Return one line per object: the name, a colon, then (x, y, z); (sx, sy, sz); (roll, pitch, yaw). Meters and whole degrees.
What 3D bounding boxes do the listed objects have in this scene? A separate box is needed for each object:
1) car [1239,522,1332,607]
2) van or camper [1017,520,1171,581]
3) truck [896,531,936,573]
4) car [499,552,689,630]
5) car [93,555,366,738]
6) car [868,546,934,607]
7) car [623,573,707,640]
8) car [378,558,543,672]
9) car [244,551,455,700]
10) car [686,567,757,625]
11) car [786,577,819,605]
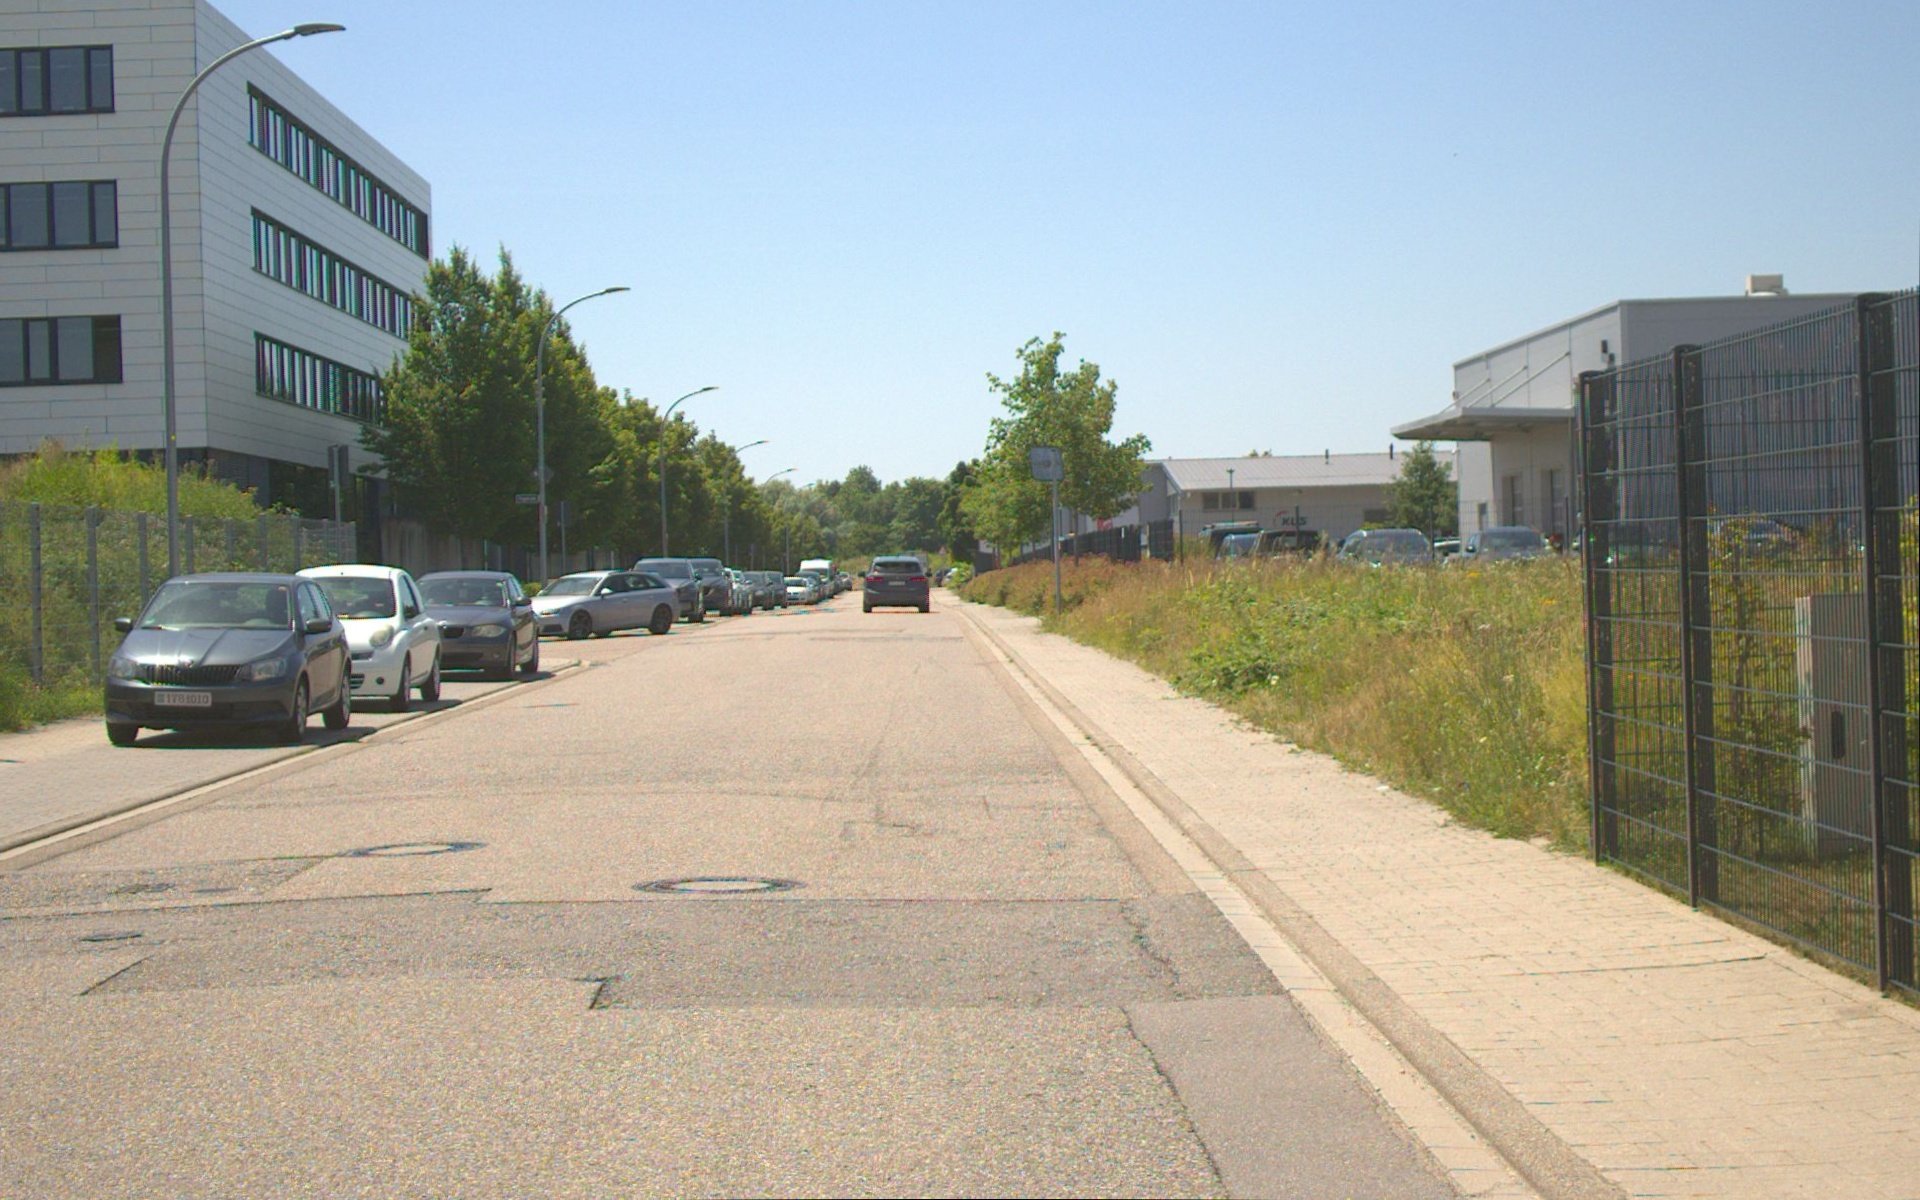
car: (6.293, -0.674, 66.604); (1.466, 1.568, 2.662); (-2, 0, -1)
van or camper: (6.077, -2.250, 156.747); (6.757, 2.576, 2.636); (-2, 0, -1)
truck: (-3.256, -3.552, 256.488); (2.933, 2.964, 6.419); (1, 0, 0)
car: (-7.792, -0.208, 73.447); (1.774, 1.582, 4.068); (-1, 0, 35)
car: (-6.474, 0.386, 30.831); (1.674, 1.525, 3.910); (0, 0, -1)
car: (-1.647, -0.645, 95.713); (1.789, 1.618, 3.809); (1, 0, -1)
car: (-7.365, 0.154, 86.161); (1.771, 1.582, 4.481); (-1, 0, -1)
car: (-6.654, 0.189, 46.097); (1.674, 1.445, 4.069); (0, 0, -1)
car: (-6.574, 0.261, 37.366); (1.674, 1.525, 3.758); (0, 0, -1)
car: (-6.778, -0.122, 98.098); (1.771, 1.618, 4.582); (0, 0, -1)
car: (-8.399, -0.464, 182.877); (1.720, 1.471, 3.858); (-1, 0, -3)
